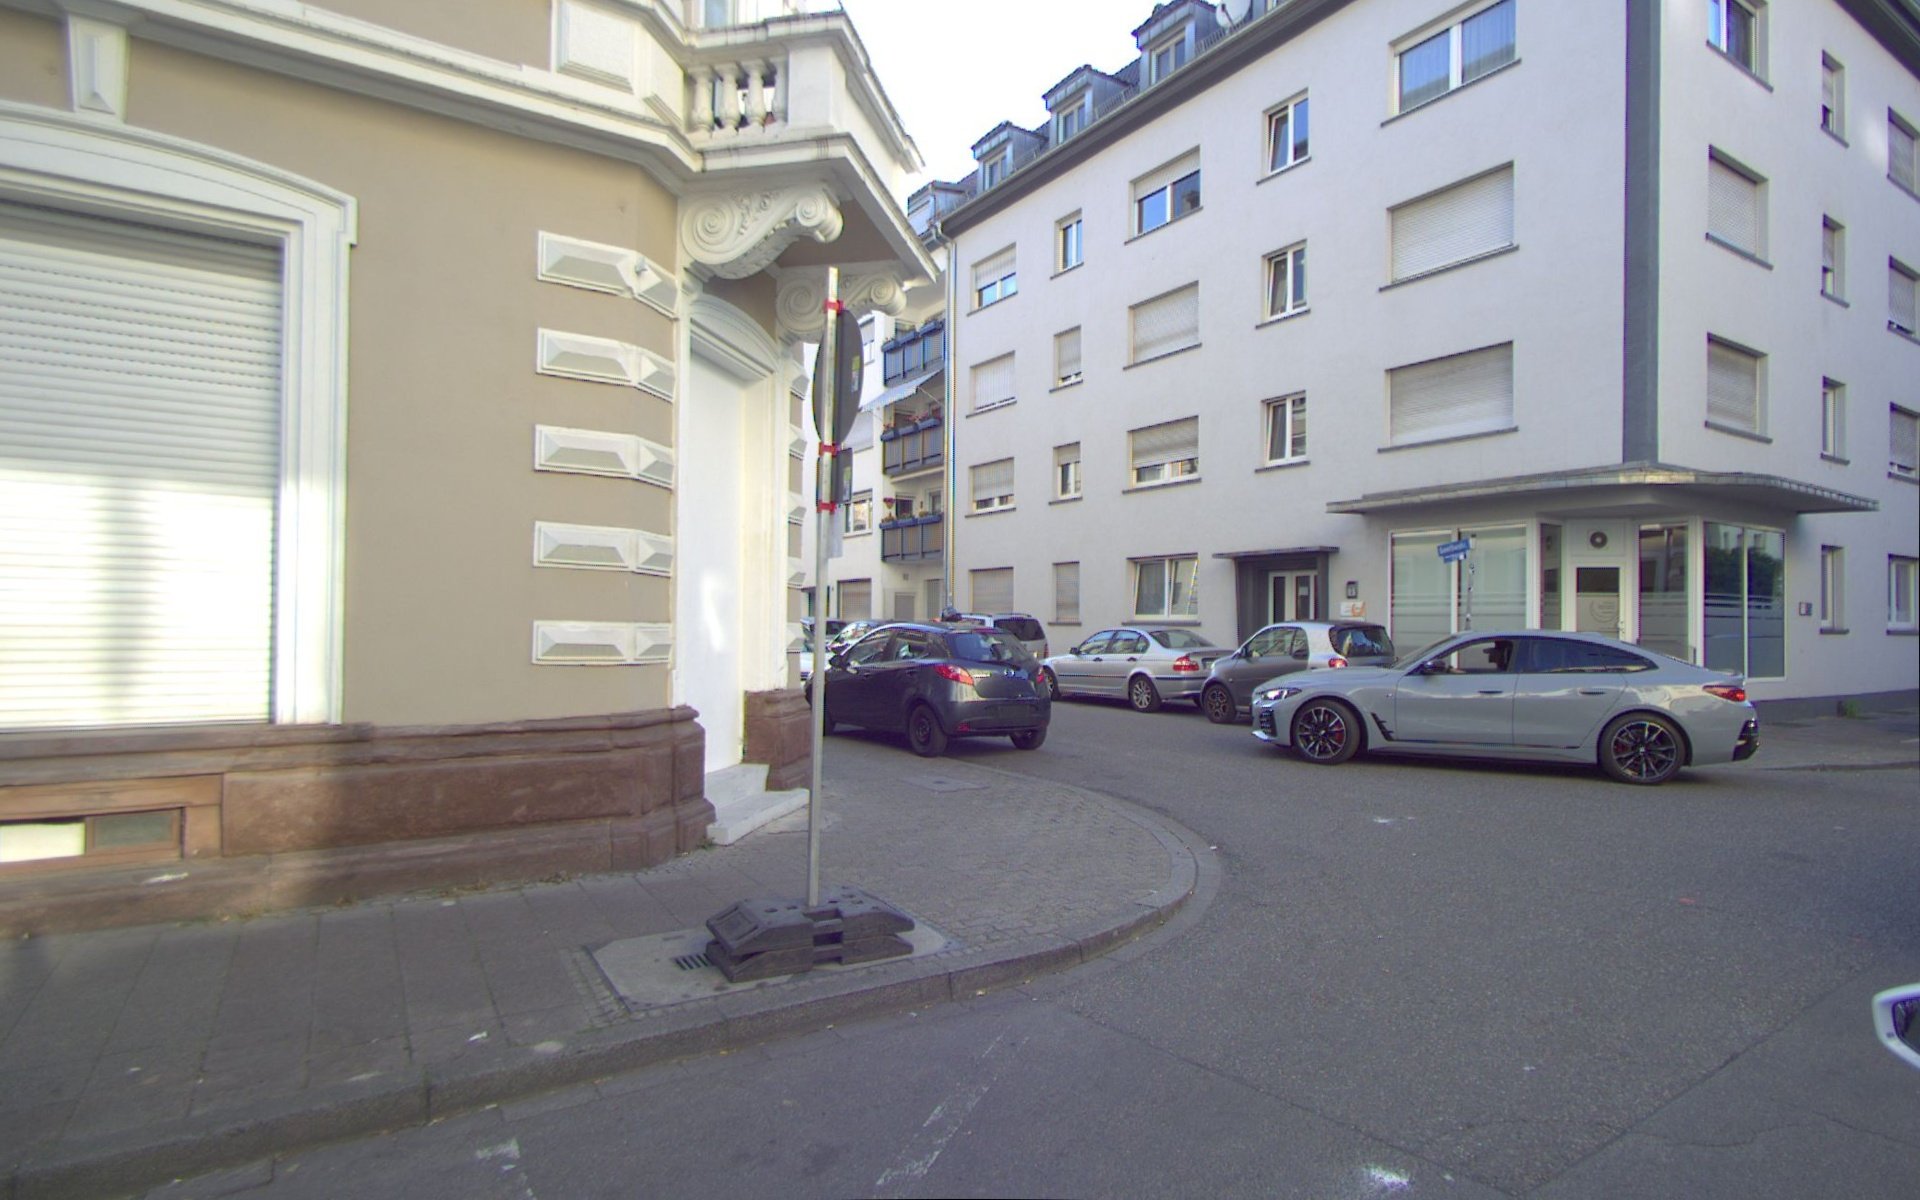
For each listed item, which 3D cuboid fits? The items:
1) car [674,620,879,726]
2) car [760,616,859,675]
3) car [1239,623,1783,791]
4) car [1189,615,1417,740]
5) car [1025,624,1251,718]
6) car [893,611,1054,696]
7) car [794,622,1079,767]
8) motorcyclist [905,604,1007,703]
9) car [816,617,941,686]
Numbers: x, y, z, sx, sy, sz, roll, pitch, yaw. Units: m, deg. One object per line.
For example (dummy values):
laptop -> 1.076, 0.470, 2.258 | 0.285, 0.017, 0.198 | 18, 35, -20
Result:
car -> -3.130, 1.077, 16.424 | 1.884, 1.481, 4.286 | 1, -1, -32
car -> -4.531, 1.318, 29.940 | 1.586, 1.560, 3.470 | 1, 0, -33
car -> 5.529, 1.002, 10.775 | 4.717, 1.470, 1.933 | 0, -1, 22
car -> 4.913, 1.037, 14.643 | 1.576, 1.560, 2.771 | 1, 0, -32
car -> 3.066, 1.184, 18.107 | 1.586, 1.422, 4.179 | 1, -1, -33
car -> 0.205, 1.114, 22.239 | 1.586, 1.626, 3.993 | 1, 0, -33
car -> -0.417, 1.014, 12.249 | 1.713, 1.470, 3.639 | 1, -1, -36
motorcyclist -> -0.067, 0.753, 14.552 | 0.963, 1.347, 1.215 | 1, -1, -36
car -> -2.174, 1.262, 25.966 | 1.587, 1.560, 3.685 | 1, 0, -34
